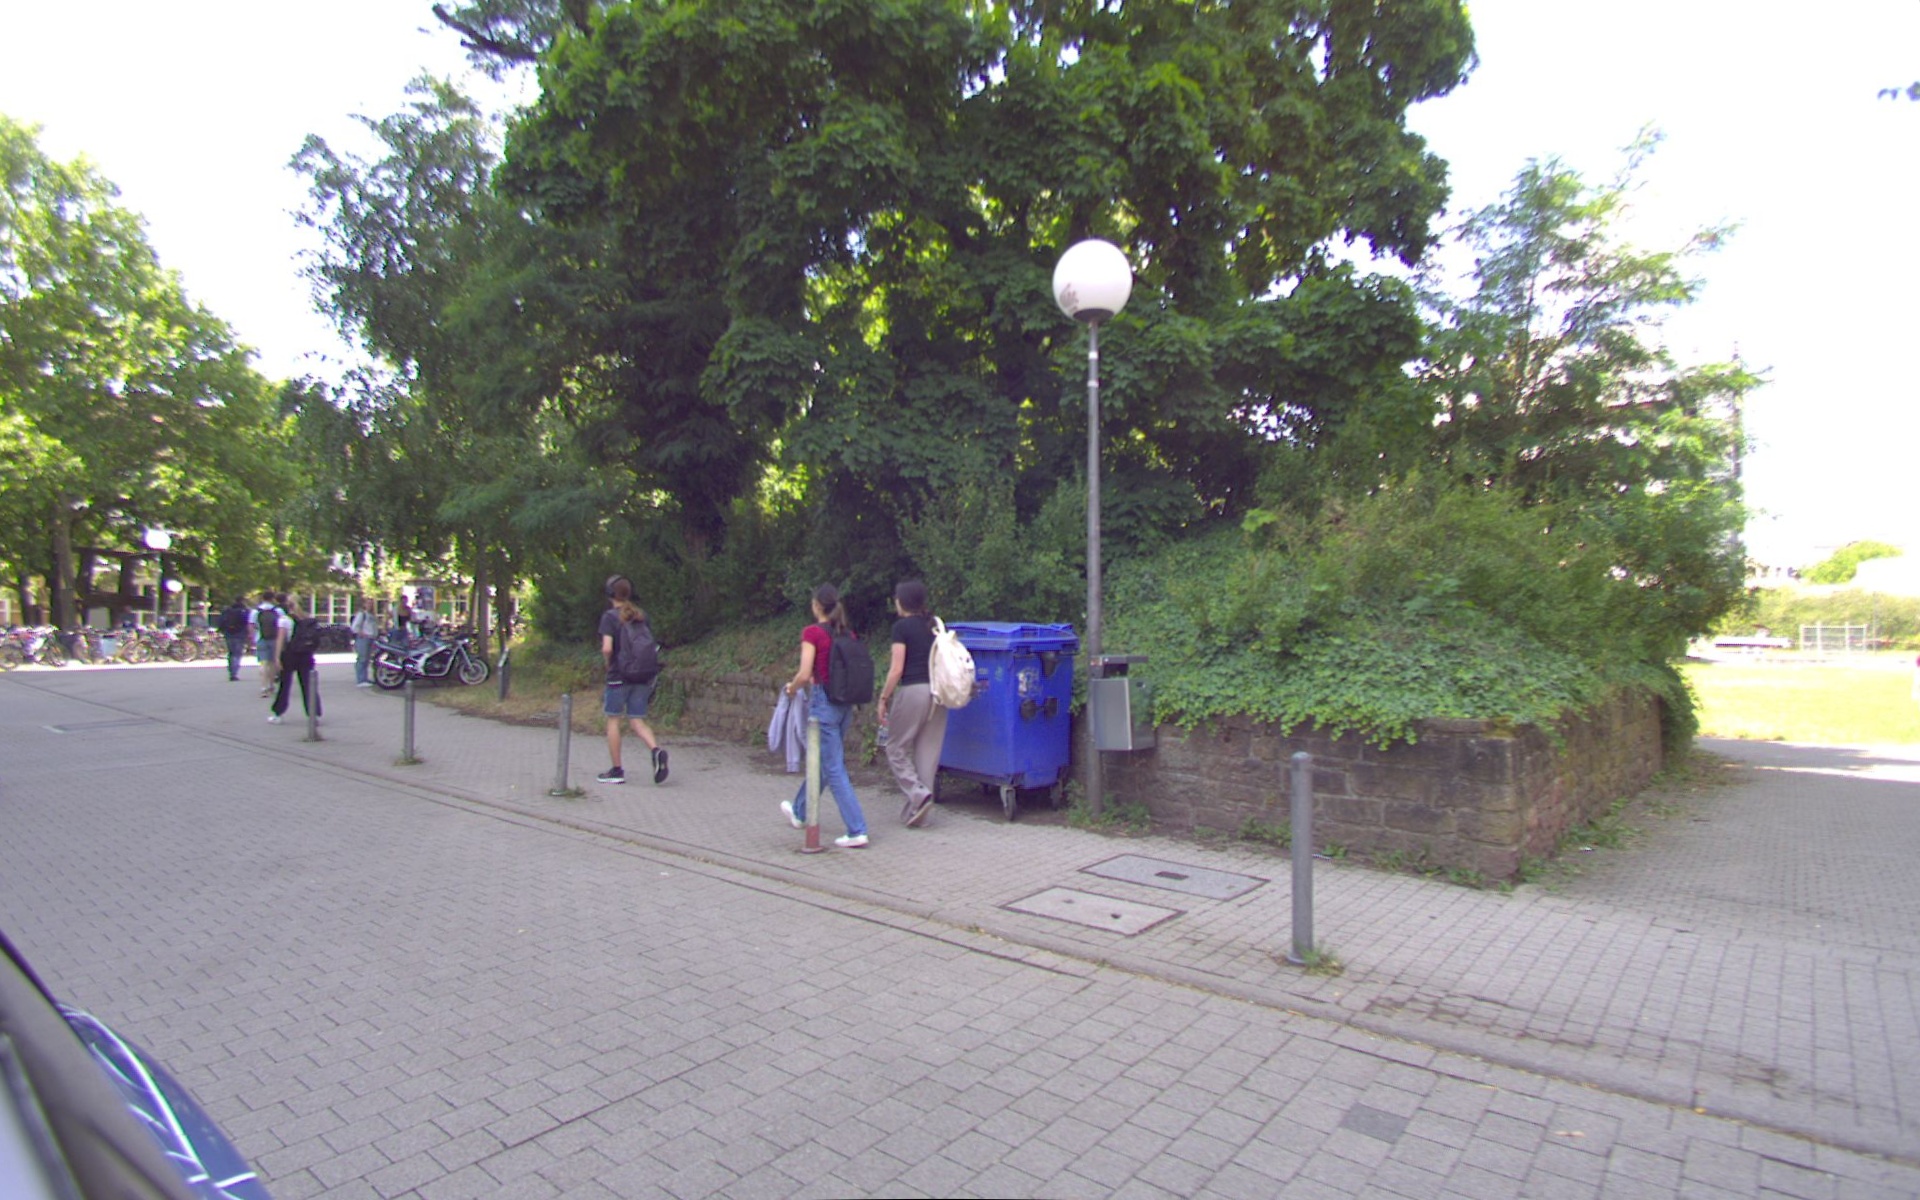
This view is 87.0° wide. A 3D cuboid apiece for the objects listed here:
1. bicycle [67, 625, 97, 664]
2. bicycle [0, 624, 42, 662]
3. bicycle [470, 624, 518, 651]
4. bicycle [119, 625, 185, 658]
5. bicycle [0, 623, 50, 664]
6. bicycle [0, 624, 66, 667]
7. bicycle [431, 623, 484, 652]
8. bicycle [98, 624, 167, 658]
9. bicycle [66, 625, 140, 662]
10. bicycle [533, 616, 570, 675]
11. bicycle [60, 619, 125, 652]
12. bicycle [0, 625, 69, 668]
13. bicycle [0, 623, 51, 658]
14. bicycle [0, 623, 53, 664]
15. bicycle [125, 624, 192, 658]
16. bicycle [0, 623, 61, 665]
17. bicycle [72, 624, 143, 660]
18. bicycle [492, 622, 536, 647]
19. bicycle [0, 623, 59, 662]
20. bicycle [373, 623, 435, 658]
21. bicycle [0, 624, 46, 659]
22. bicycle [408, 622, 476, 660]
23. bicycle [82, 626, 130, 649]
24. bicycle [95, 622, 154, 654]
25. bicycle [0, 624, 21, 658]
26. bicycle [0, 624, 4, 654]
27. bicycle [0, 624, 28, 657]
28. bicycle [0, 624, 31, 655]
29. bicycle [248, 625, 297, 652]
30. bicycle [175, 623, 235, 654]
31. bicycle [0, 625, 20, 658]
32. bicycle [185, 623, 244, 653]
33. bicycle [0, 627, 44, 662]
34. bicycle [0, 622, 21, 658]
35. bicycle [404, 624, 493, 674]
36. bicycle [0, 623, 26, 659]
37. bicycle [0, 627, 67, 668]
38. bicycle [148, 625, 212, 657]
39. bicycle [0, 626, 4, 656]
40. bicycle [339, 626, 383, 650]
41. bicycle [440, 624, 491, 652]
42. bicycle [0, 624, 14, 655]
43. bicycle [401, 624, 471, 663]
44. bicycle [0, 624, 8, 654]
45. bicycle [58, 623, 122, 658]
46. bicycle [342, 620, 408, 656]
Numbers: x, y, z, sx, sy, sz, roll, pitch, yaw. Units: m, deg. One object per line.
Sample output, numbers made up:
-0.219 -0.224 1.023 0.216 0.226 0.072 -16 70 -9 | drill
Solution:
-25.756 1.295 29.682 1.700 1.092 0.501 -1 -1 43 | bicycle
-30.910 1.396 32.788 0.472 1.196 1.683 0 -1 28 | bicycle
-19.571 1.592 42.523 1.749 1.118 0.518 0 -1 -8 | bicycle
-27.276 1.382 34.183 1.670 1.092 0.475 1 -1 -19 | bicycle
-28.237 1.291 30.108 0.471 1.177 1.686 0 -1 23 | bicycle
-26.596 1.287 28.793 0.473 1.177 1.680 -1 -1 34 | bicycle
-19.616 1.453 39.514 1.749 1.118 0.518 0 -1 -8 | bicycle
-26.837 1.327 32.853 1.671 1.092 0.475 0 -1 -15 | bicycle
-26.170 1.319 30.932 1.672 1.092 0.475 1 -1 -38 | bicycle
-7.968 0.863 19.701 0.466 1.055 1.705 -1 0 -28 | bicycle
-30.641 1.238 35.764 0.500 1.116 1.683 0 -1 28 | bicycle
-25.730 1.268 27.910 0.472 1.168 1.681 0 -1 31 | bicycle
-31.151 1.338 33.366 0.563 1.116 1.683 0 -1 28 | bicycle
-27.841 1.266 29.738 0.472 1.177 1.684 0 -1 27 | bicycle
-26.775 1.362 33.829 1.670 1.092 0.475 1 -1 -19 | bicycle
-27.262 1.269 29.324 1.752 1.177 0.475 1 -1 -37 | bicycle
-26.808 1.319 31.845 1.672 1.092 0.475 1 -1 -37 | bicycle
-20.190 1.551 45.839 1.749 1.118 0.518 0 -1 -8 | bicycle
-29.493 1.327 31.882 0.469 1.166 1.693 0 -1 12 | bicycle
-18.495 1.340 33.681 1.748 1.118 0.475 0 -1 -11 | bicycle
-30.501 1.328 32.456 0.580 1.116 1.683 0 -1 28 | bicycle
-15.477 1.223 30.277 1.747 1.118 0.475 1 -1 -21 | bicycle
-43.410 1.900 51.455 0.392 1.116 1.818 -1 -1 33 | bicycle
-32.338 1.464 39.173 1.671 1.209 0.577 0 -1 -14 | bicycle
-33.165 1.387 34.472 0.472 1.154 1.683 0 -1 28 | bicycle
-37.508 1.480 38.481 1.603 1.152 0.498 1 -1 -37 | bicycle
-32.751 1.387 34.255 0.472 1.116 1.683 0 -1 28 | bicycle
-35.129 1.448 36.974 0.492 1.116 1.732 0 -1 16 | bicycle
-27.880 1.570 41.063 1.677 1.092 0.474 0 -1 3 | bicycle
-27.217 1.386 36.496 1.671 1.092 0.475 0 -1 -14 | bicycle
-33.555 1.429 34.822 0.495 1.116 1.683 0 -1 29 | bicycle
-27.635 1.414 37.532 1.671 1.092 0.475 0 -1 -14 | bicycle
-29.123 1.351 30.991 0.468 1.026 1.697 0 -1 5 | bicycle
-33.879 1.407 35.183 0.495 1.245 1.721 -1 -1 32 | bicycle
-11.063 1.057 21.891 1.675 1.055 0.474 0 -1 -1 | bicycle
-32.119 1.362 33.494 0.535 1.208 1.681 0 -1 31 | bicycle
-26.074 1.324 28.230 0.473 1.099 1.680 -1 -1 34 | bicycle
-26.876 1.404 34.878 1.671 1.092 0.475 0 -1 -14 | bicycle
-37.097 1.548 37.951 1.711 1.116 0.576 1 -1 -31 | bicycle
-28.487 1.809 48.121 1.834 1.092 0.474 0 -1 3 | bicycle
-19.726 1.514 40.409 1.749 1.118 0.518 0 -1 -8 | bicycle
-35.879 1.445 37.086 0.496 1.135 1.720 -1 -1 35 | bicycle
-15.125 1.252 29.257 1.747 1.118 0.475 1 -1 -21 | bicycle
-36.409 1.457 37.417 0.496 1.116 1.717 -1 -1 40 | bicycle
-31.386 1.447 36.521 0.500 1.229 1.683 0 -1 28 | bicycle
-18.494 1.207 32.017 1.750 1.118 0.475 0 -1 -6 | bicycle
